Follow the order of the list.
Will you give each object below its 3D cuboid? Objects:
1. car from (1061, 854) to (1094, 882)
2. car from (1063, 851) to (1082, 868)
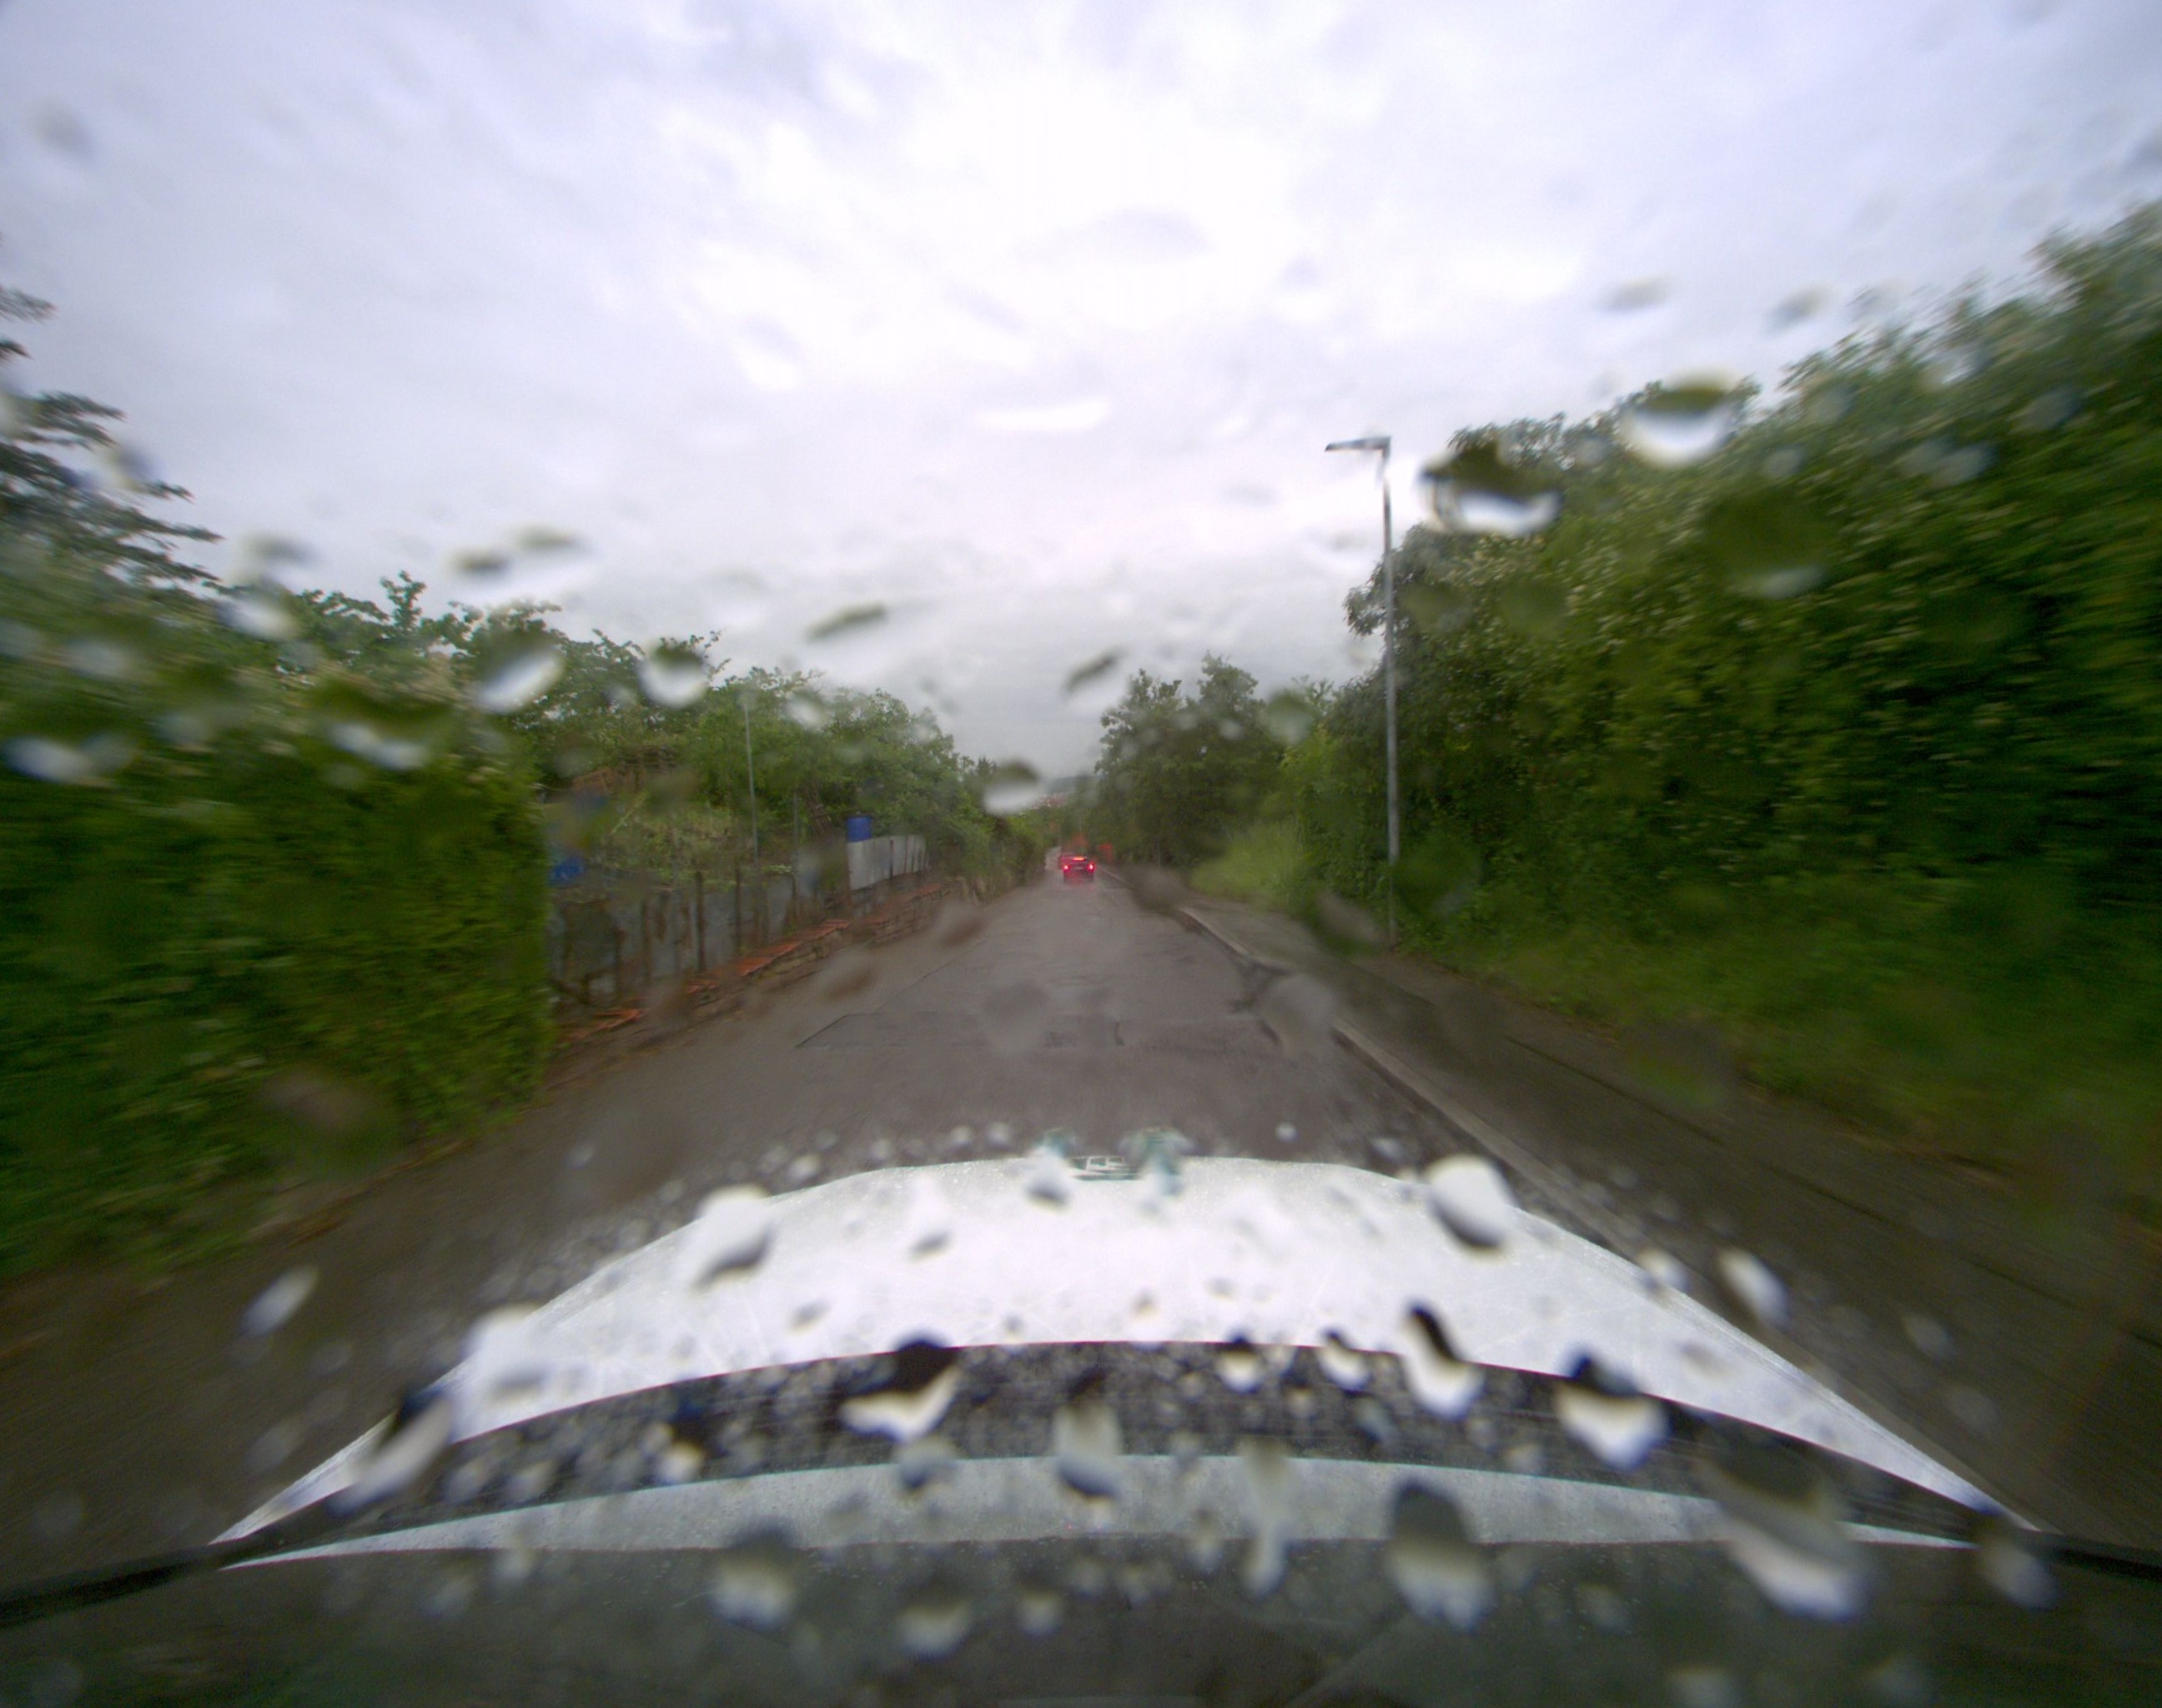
[{"bbox_3d":[-0.215,0.796,47.748,1.829,1.464,3.999,-1,1,-1],"label":"car"},{"bbox_3d":[-0.832,0.526,81.132,1.672,1.565,3.796,-2,2,2],"label":"car"}]
